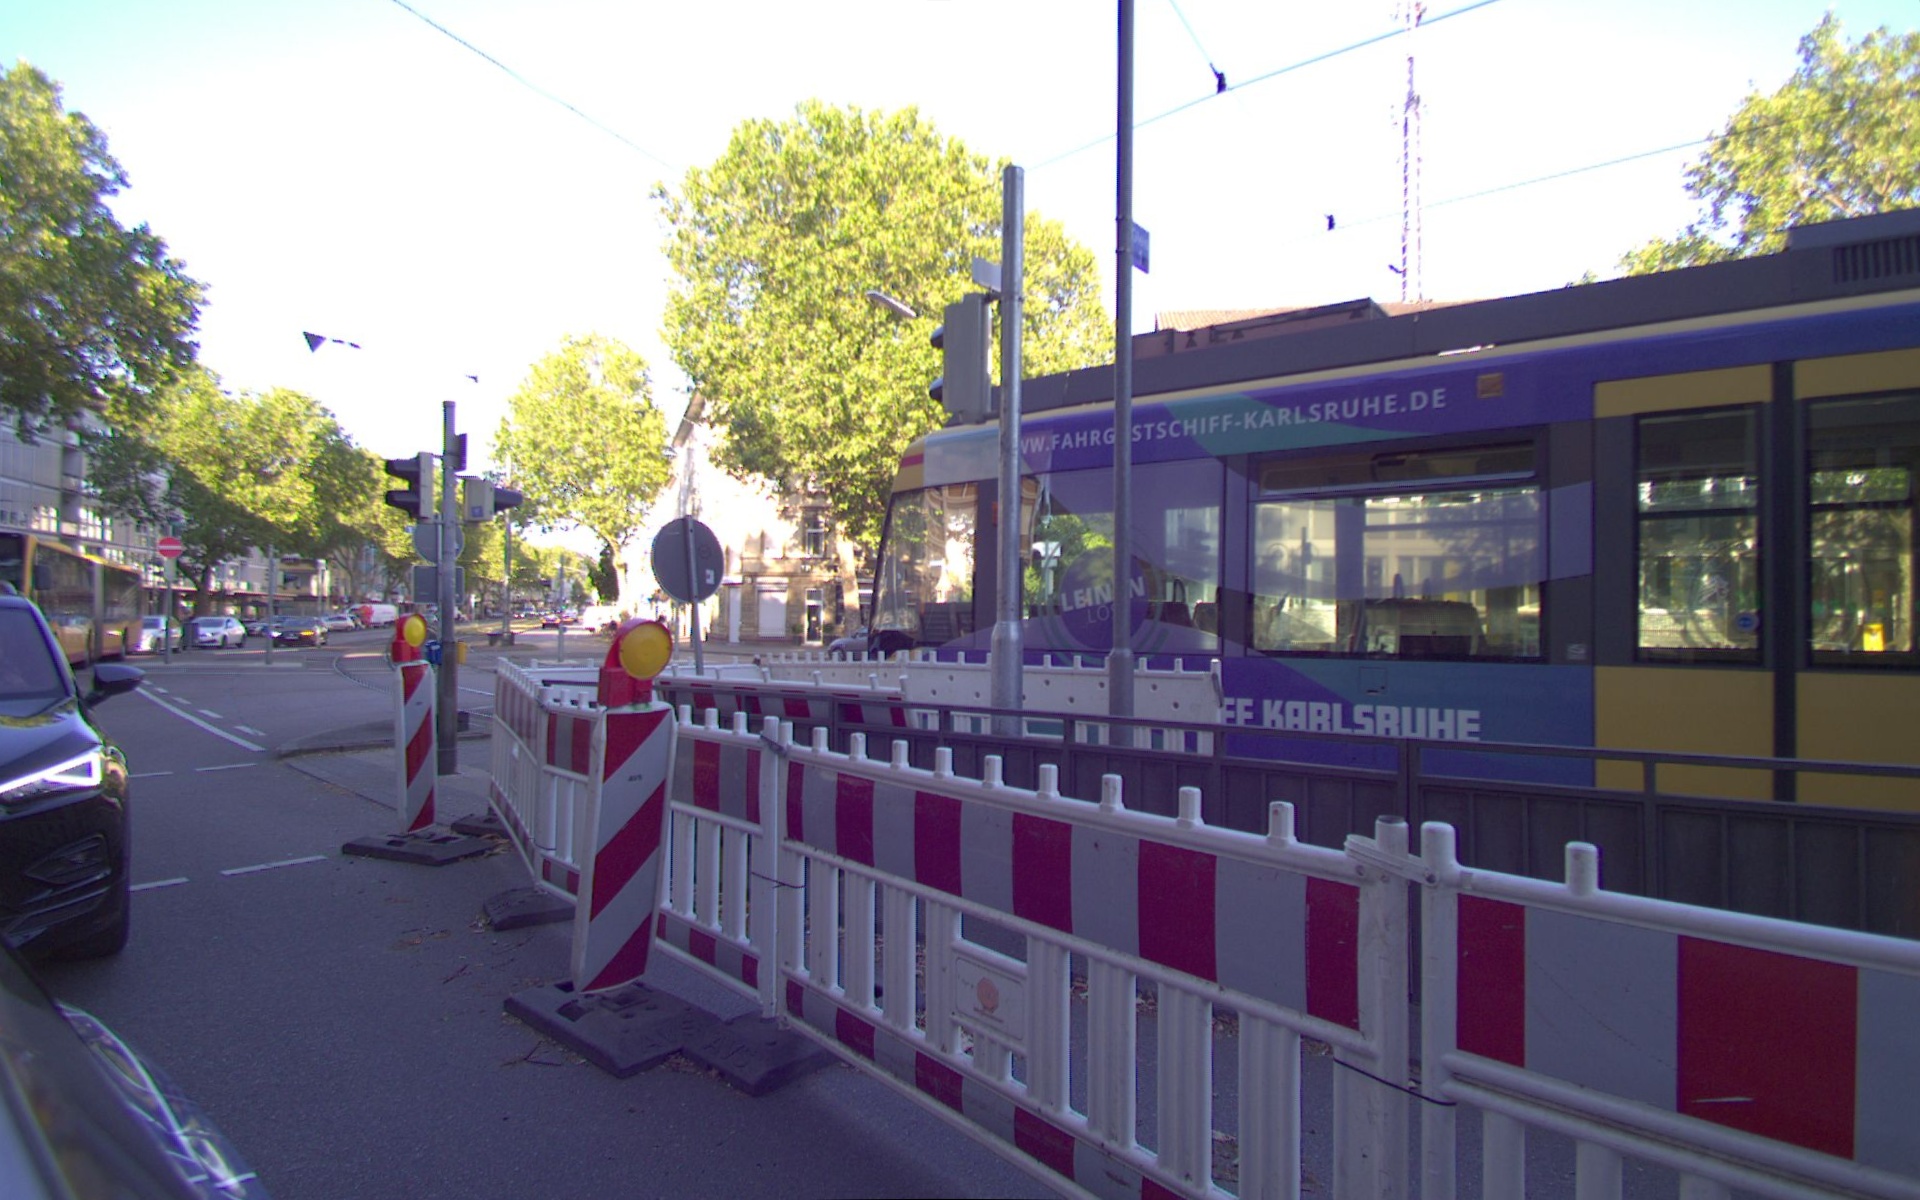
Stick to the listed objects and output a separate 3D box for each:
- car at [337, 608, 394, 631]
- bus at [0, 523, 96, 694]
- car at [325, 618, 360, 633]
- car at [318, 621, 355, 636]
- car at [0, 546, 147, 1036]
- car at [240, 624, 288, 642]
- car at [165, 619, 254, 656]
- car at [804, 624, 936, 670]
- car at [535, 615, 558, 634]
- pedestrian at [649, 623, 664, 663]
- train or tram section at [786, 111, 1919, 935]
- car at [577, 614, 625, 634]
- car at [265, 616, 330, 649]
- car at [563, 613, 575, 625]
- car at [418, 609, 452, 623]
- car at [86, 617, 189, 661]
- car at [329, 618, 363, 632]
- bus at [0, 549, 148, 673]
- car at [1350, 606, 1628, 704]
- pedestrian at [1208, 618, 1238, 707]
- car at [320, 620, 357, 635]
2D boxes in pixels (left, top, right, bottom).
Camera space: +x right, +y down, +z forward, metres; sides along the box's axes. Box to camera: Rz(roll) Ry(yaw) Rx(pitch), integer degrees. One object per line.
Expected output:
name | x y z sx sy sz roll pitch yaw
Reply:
car | -61.613 2.011 105.001 1.873 2.394 4.817 0 -1 30
bus | -21.047 0.218 21.947 2.710 3.127 9.519 1 -2 -36
car | -58.143 2.381 95.272 1.201 1.399 2.592 0 -1 43
car | -54.921 2.472 89.175 1.201 1.290 2.592 0 -1 43
car | -5.167 0.684 4.595 4.300 1.670 1.823 -1 -1 45
car | -50.896 2.394 74.029 1.198 1.226 2.599 0 -1 34
car | -34.594 1.696 46.774 1.923 1.562 4.771 1 -1 -19
car | -2.955 1.511 33.442 3.967 1.420 1.874 0 -1 18
car | -43.306 2.578 106.106 1.965 1.881 4.012 1 -1 -19
pedestrian | -10.315 1.454 34.386 0.359 1.318 0.403 1 -2 -32
train or tram section | 3.544 -0.300 6.449 10.317 3.514 2.810 -1 -1 36
car | -34.229 2.289 96.548 1.994 1.929 3.954 -1 -2 33
car | -32.505 1.571 49.778 1.923 1.486 4.772 1 -1 -24
car | -66.601 3.268 172.354 1.875 1.918 4.013 1 -1 -21
car | -77.508 2.404 149.459 1.874 2.029 3.956 -1 -2 32
car | -30.709 1.422 37.932 1.880 1.486 4.433 1 -1 -24
car | -59.495 2.434 98.054 1.201 1.355 2.592 0 -1 43
bus | -26.352 0.374 29.796 2.708 3.127 9.523 1 -2 -32
car | 10.136 0.978 19.534 4.576 1.679 1.878 -1 0 35
pedestrian | 5.138 1.208 19.768 0.539 1.710 0.515 0 -2 18
car | -56.544 2.485 92.064 1.201 1.290 2.592 0 -1 43
